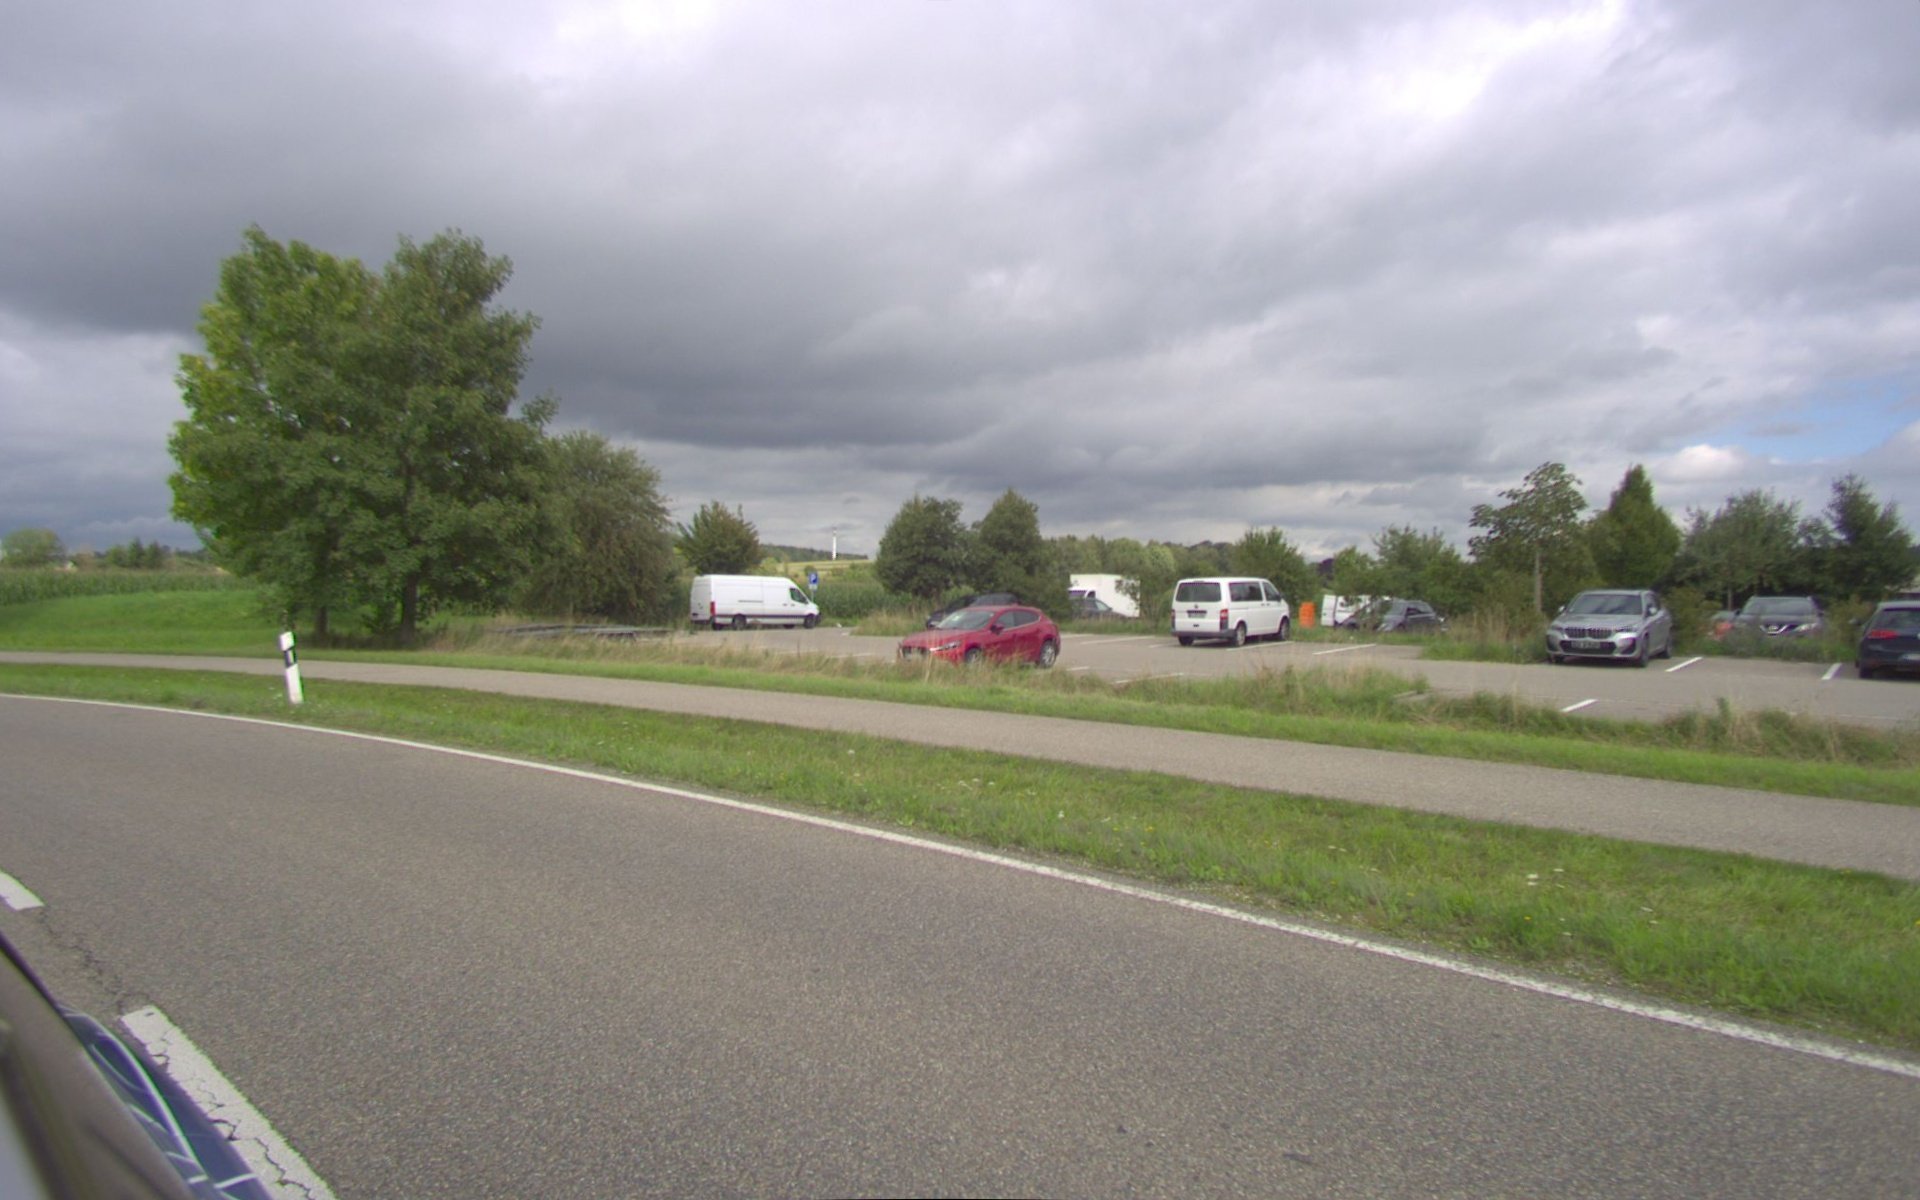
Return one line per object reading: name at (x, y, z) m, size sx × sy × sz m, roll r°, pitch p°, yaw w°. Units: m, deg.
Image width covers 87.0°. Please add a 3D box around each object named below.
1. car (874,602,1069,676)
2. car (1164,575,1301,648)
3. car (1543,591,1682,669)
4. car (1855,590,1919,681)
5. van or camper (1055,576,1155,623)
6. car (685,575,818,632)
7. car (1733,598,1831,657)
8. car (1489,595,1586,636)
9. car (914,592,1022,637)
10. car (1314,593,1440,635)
car at (0.346, 0.767, 21.946) m, size 1.814 × 1.427 × 4.316 m, roll 0°, pitch 0°, yaw 43°
car at (8.148, 0.284, 30.007) m, size 2.061 × 1.940 × 4.632 m, roll 0°, pitch 2°, yaw 42°
car at (14.696, 0.598, 22.722) m, size 1.966 × 1.563 × 3.943 m, roll 0°, pitch 1°, yaw 43°
car at (18.514, 0.612, 19.381) m, size 1.966 × 1.563 × 3.943 m, roll 0°, pitch 1°, yaw 43°
van or camper at (8.011, -0.065, 55.380) m, size 5.960 × 2.364 × 2.287 m, roll -2°, pitch 2°, yaw -45°
car at (-10.092, 0.153, 49.370) m, size 2.201 × 2.639 × 6.245 m, roll 0°, pitch 0°, yaw 43°
car at (20.633, 0.635, 25.359) m, size 1.776 × 1.350 × 3.742 m, roll 0°, pitch 0°, yaw 41°
car at (20.850, 0.514, 36.466) m, size 3.939 × 1.384 × 1.968 m, roll -1°, pitch 0°, yaw -43°
car at (0.340, 0.478, 36.888) m, size 1.793 × 1.536 × 3.945 m, roll 0°, pitch 0°, yaw 41°
car at (17.084, 0.547, 41.630) m, size 1.967 × 1.635 × 4.461 m, roll 0°, pitch 0°, yaw -36°
